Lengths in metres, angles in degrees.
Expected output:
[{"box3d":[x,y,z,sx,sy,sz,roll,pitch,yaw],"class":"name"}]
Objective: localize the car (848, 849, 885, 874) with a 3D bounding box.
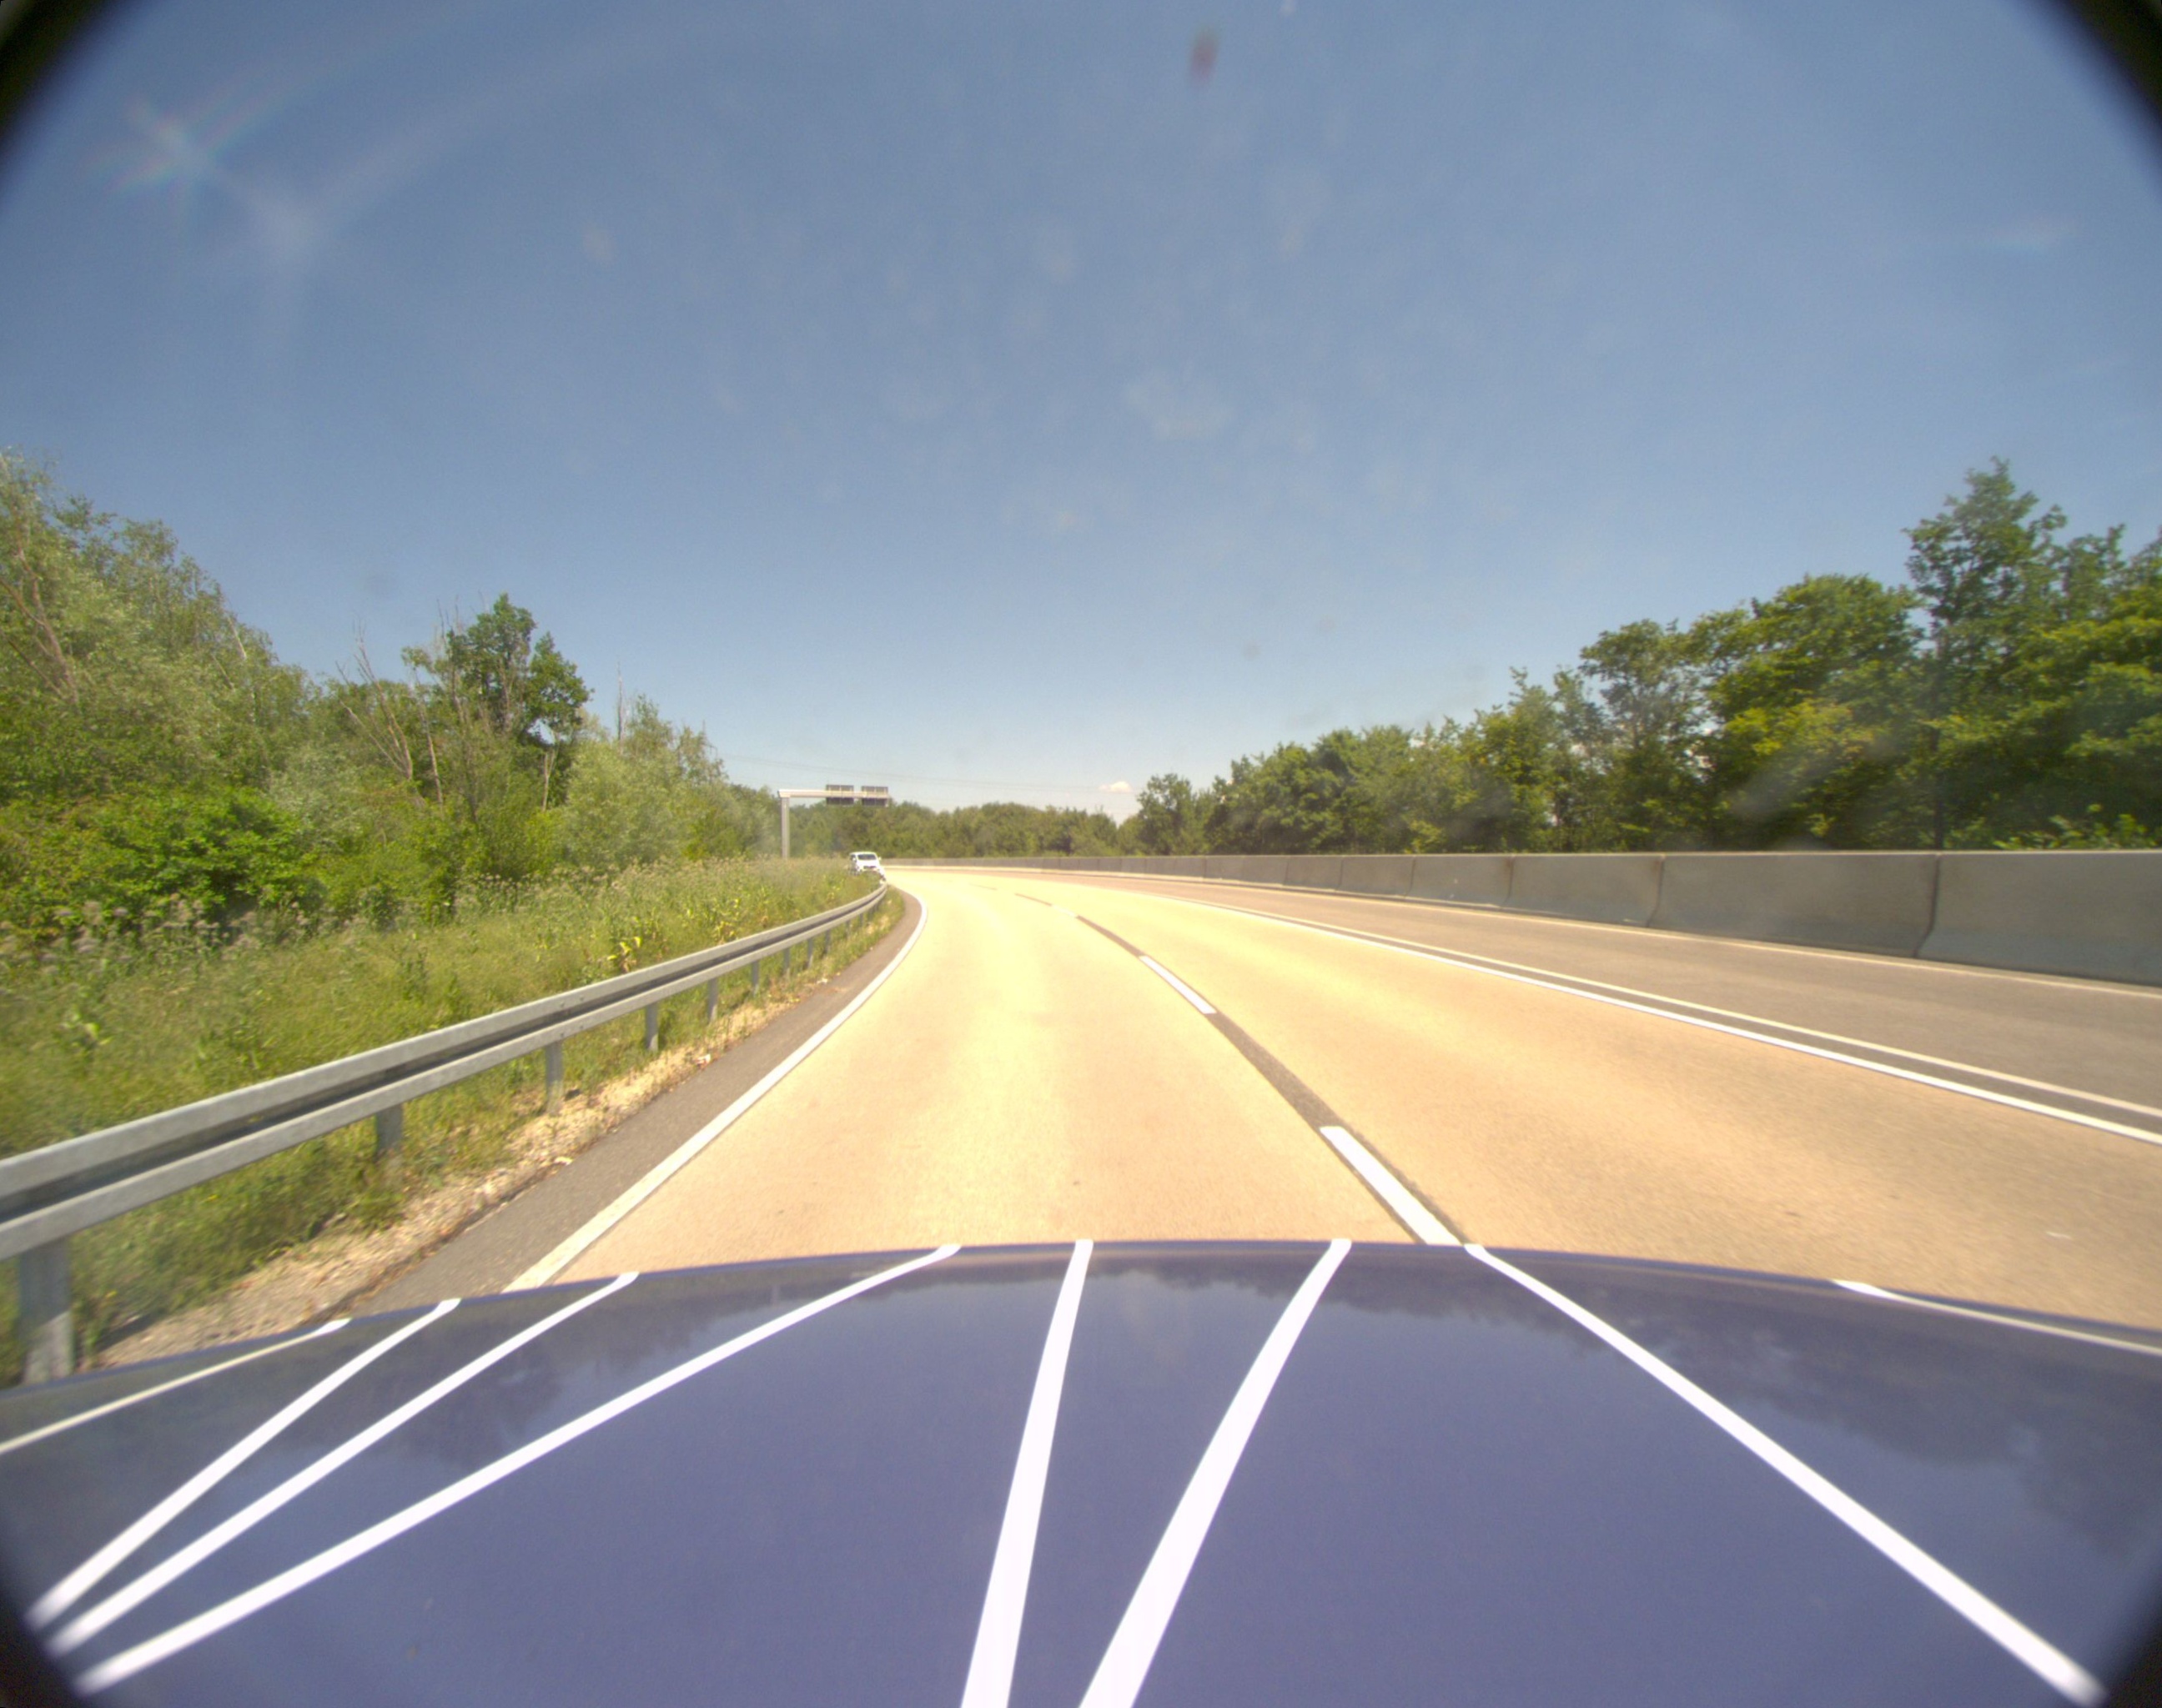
[{"box3d":[-18.137,0.586,64.095,2.066,2.002,5.030,-2,1,-26],"class":"car"}]
